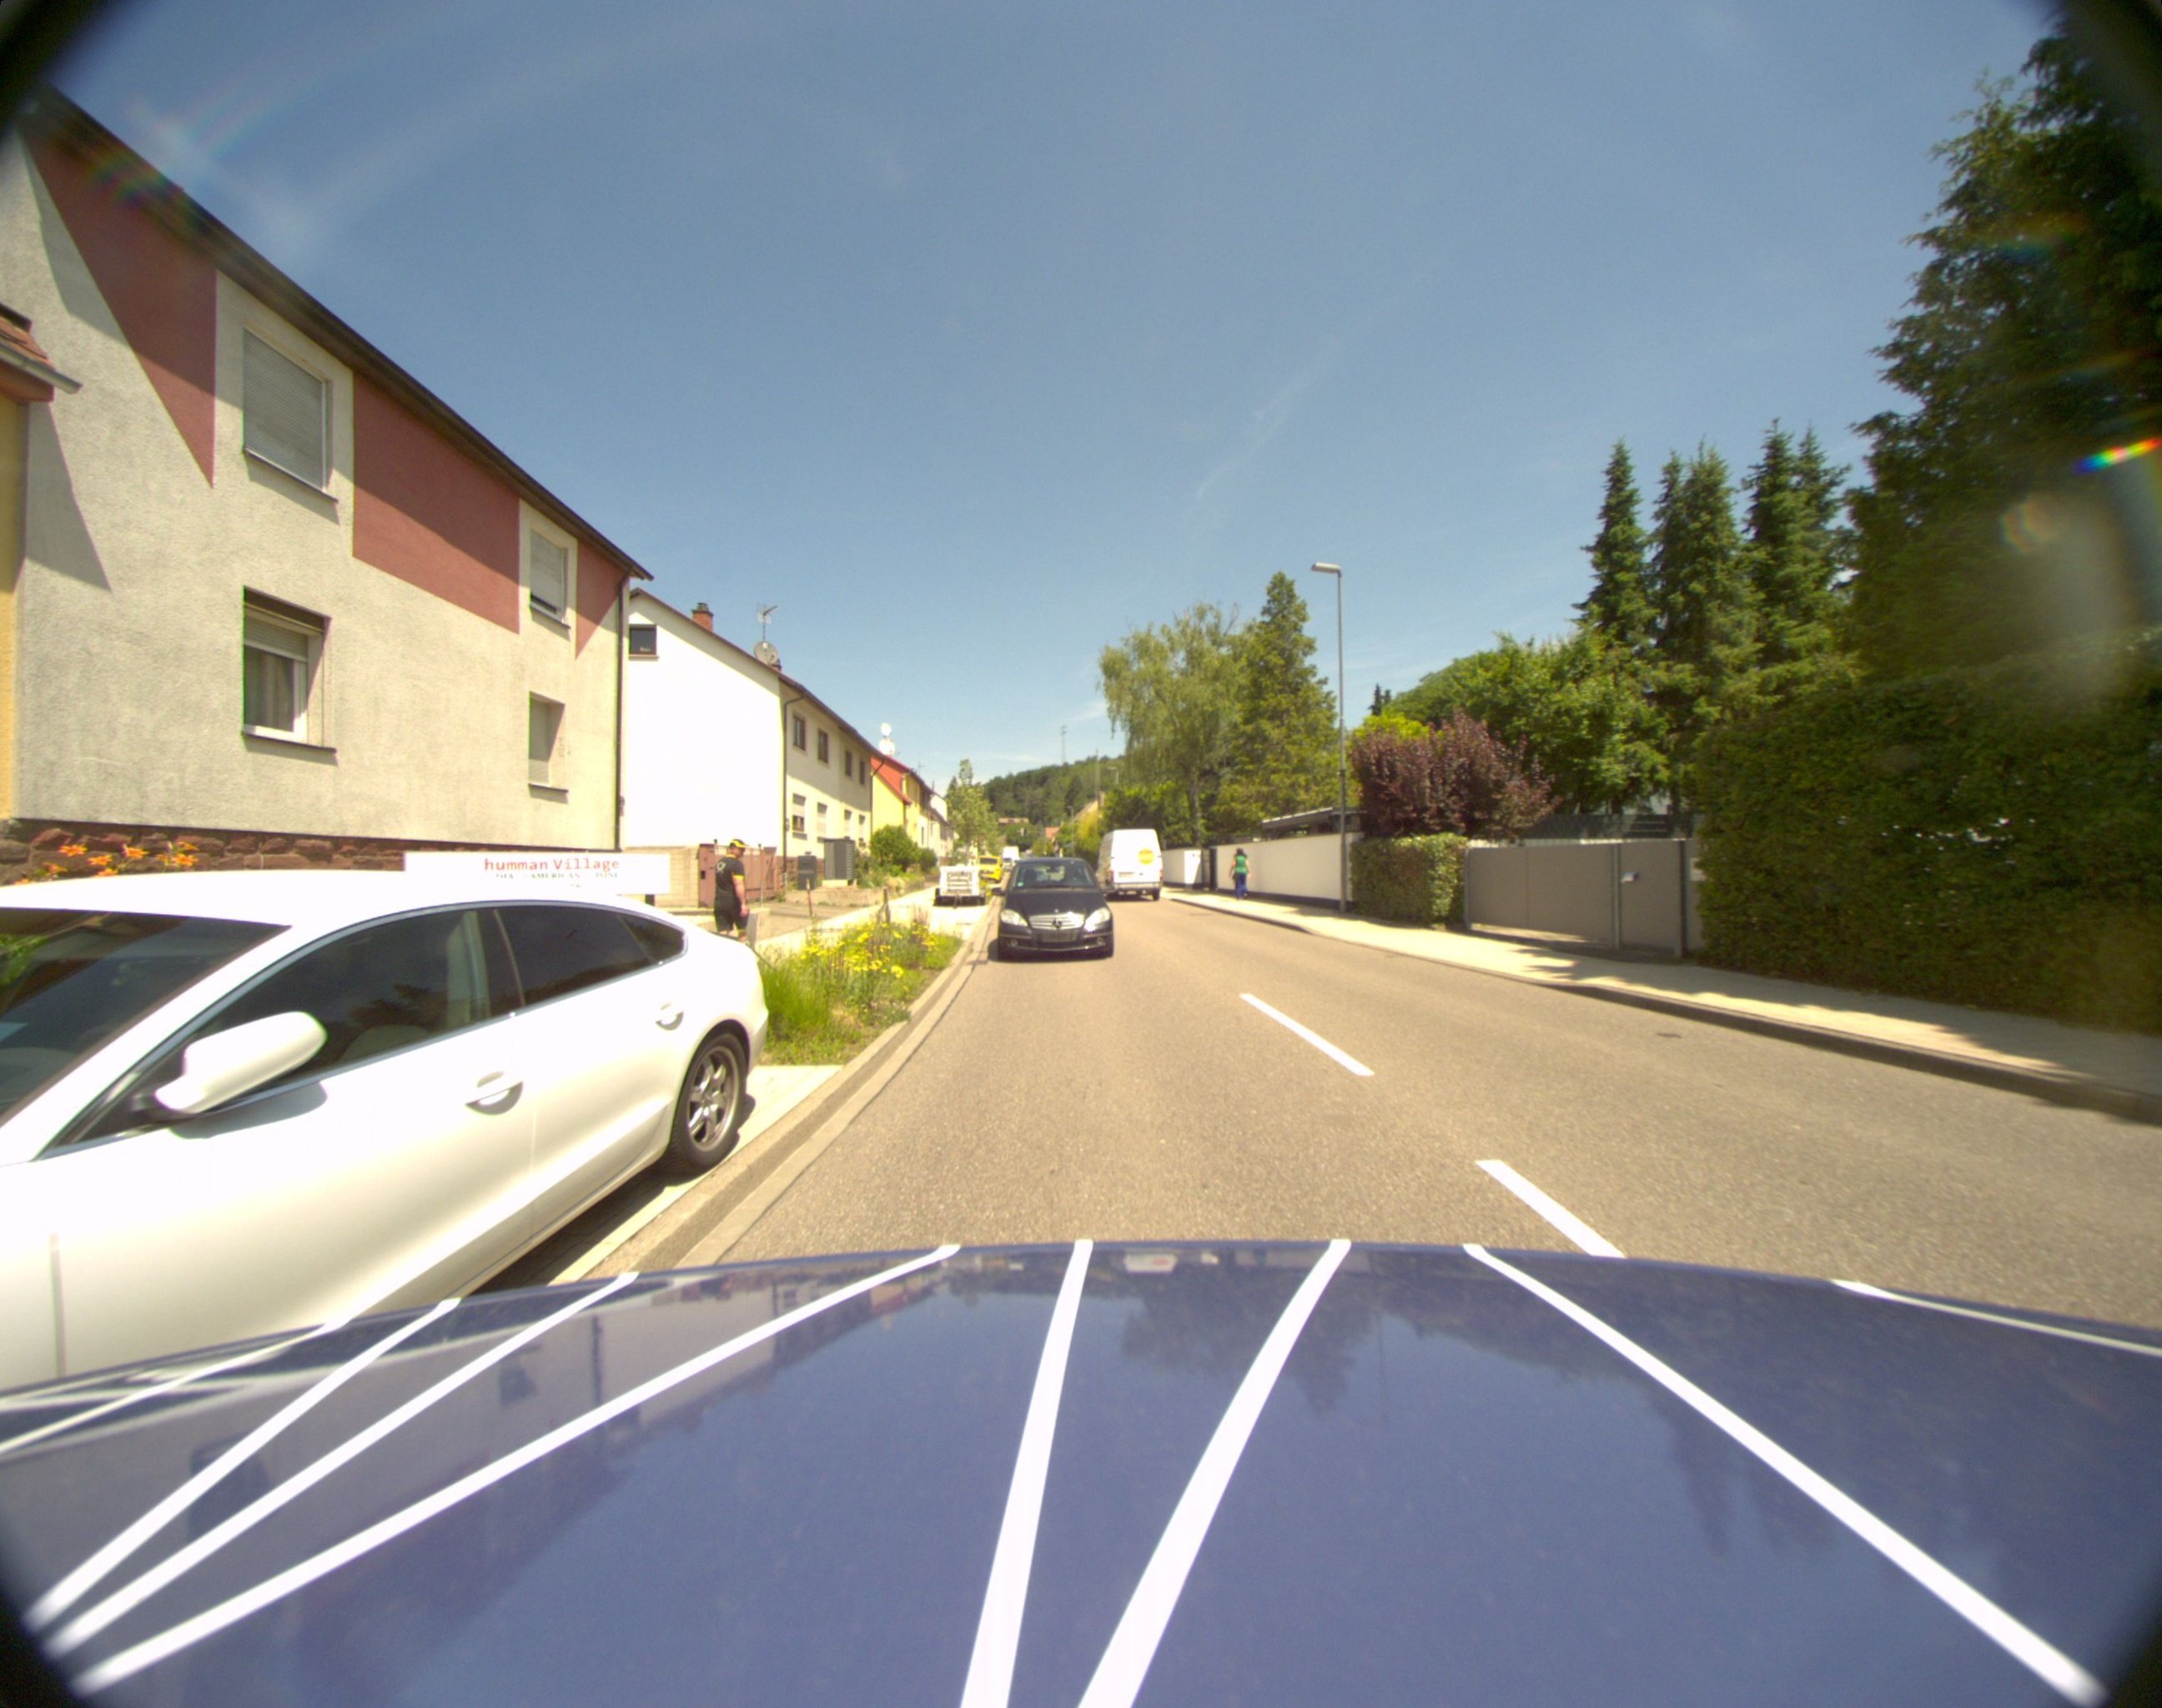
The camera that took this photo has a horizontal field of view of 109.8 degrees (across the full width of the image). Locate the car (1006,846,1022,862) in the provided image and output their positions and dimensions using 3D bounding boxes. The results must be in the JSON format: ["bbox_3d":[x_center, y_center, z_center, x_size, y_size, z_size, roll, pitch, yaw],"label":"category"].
[{"bbox_3d":[-9.417,-0.029,107.044,1.987,2.170,3.998,-2,1,-4],"label":"car"}]

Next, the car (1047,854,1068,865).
[{"bbox_3d":[-4.243,0.965,137.536,3.607,1.780,1.847,-2,1,-6],"label":"car"}]

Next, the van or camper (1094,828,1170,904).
[{"bbox_3d":[1.883,0.443,30.139,2.044,2.697,5.821,-1,0,-6],"label":"van or camper"}]

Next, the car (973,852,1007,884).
[{"bbox_3d":[-6.571,0.955,55.296,2.196,2.002,5.619,3,0,-6],"label":"car"}]

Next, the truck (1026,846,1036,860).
[{"bbox_3d":[-12.744,-0.222,195.472,2.549,3.716,8.618,0,0,-3],"label":"truck"}]

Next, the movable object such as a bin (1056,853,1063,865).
[{"bbox_3d":[-3.736,0.784,131.661,1.062,2.002,1.322,-2,1,-5],"label":"movable object such as a bin"}]

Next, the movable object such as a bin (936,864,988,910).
[{"bbox_3d":[-3.970,1.071,25.712,1.576,1.408,3.039,0,1,-6],"label":"movable object such as a bin"}]

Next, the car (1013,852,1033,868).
[{"bbox_3d":[-6.649,0.703,86.976,2.000,1.716,3.997,-3,0,-6],"label":"car"}]

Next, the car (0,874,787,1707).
[{"bbox_3d":[-2.572,0.875,1.897,1.760,1.410,4.632,1,1,1],"label":"car"}]

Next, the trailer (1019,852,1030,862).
[{"bbox_3d":[-12.315,0.698,165.454,2.162,1.975,6.196,-2,1,-7],"label":"trailer"}]

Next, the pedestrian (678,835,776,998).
[{"bbox_3d":[-4.590,0.767,9.934,0.748,2.002,1.033,-2,1,-4],"label":"pedestrian"}]

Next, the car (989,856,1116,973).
[{"bbox_3d":[-0.575,0.875,13.435,1.768,1.572,4.928,-2,1,-4],"label":"car"}]

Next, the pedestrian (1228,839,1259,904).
[{"bbox_3d":[5.132,0.540,24.057,0.722,2.002,0.804,-2,1,-3],"label":"pedestrian"}]
